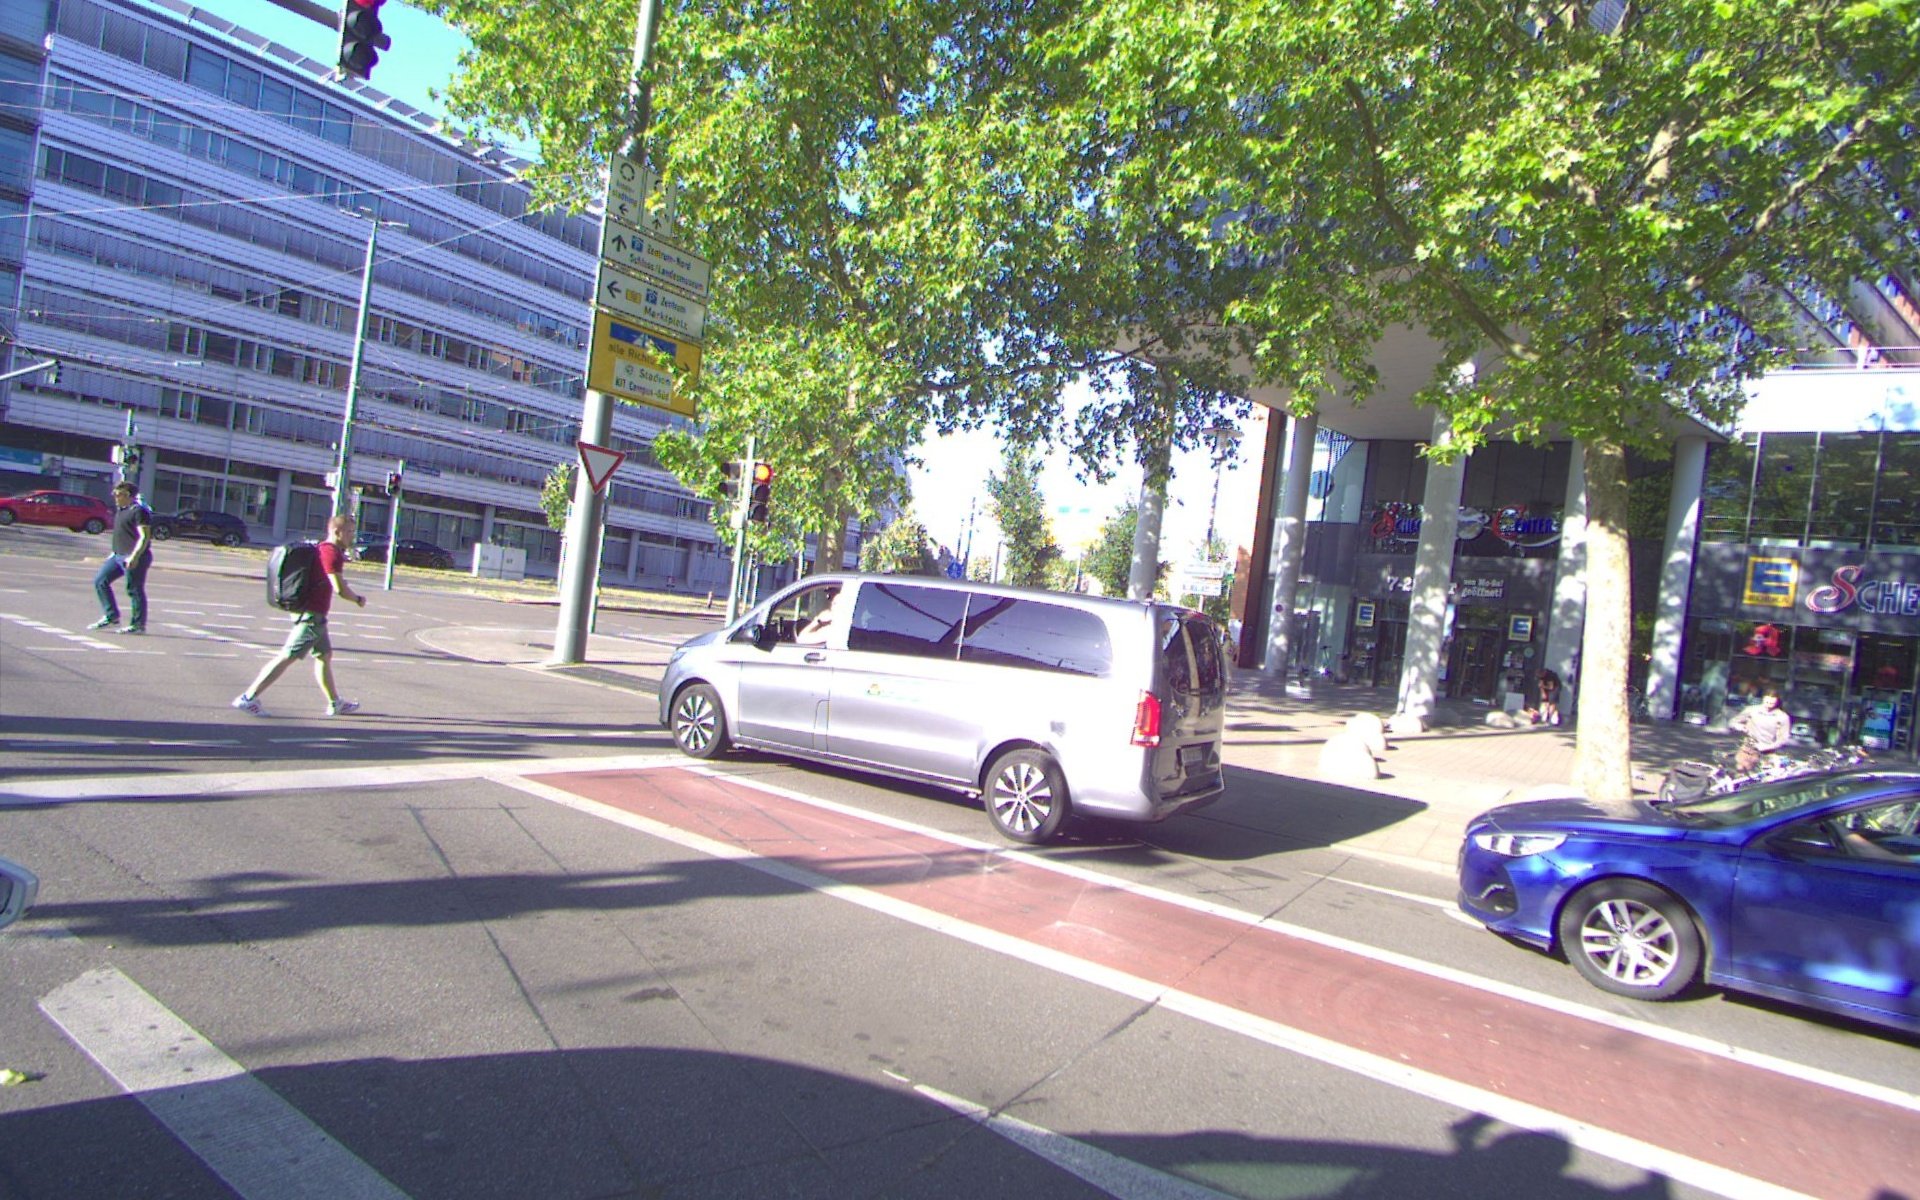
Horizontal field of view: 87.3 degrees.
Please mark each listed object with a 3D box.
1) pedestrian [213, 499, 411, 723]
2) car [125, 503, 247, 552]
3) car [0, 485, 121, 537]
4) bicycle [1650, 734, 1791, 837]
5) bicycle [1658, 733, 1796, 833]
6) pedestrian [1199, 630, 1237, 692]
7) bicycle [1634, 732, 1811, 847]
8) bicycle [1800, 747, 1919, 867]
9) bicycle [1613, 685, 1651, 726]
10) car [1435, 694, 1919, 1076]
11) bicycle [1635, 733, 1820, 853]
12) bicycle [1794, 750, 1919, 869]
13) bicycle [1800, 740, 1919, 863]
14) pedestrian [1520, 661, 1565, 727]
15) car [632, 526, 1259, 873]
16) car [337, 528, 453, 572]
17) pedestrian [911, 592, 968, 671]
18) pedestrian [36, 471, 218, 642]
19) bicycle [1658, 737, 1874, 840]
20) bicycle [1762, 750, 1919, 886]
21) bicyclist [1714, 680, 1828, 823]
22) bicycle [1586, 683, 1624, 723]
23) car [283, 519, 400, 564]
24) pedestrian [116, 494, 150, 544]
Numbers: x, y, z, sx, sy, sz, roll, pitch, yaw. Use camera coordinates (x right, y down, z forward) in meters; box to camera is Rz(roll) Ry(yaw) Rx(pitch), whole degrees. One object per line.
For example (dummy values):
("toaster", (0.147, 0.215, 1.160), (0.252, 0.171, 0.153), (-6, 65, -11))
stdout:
("pedestrian", (-5.446, 0.120, 8.507), (0.617, 1.735, 1.076), (7, -1, 28))
("car", (-34.286, -3.195, 44.634), (1.766, 1.525, 3.863), (7, 0, 33))
("car", (-34.410, -3.400, 37.640), (1.765, 1.409, 4.248), (7, 0, 30))
("bicycle", (9.767, 2.362, 12.947), (0.393, 1.038, 1.305), (6, 1, -42))
("bicycle", (10.114, 2.395, 13.292), (0.393, 1.038, 1.305), (6, 1, -42))
("pedestrian", (7.385, 1.736, 28.784), (0.694, 1.662, 0.775), (7, 1, 27))
("bicycle", (9.095, 2.245, 12.068), (1.545, 1.039, 0.461), (7, 1, 29))
("bicycle", (10.163, 2.275, 10.912), (1.451, 1.095, 0.421), (7, 1, 30))
("bicycle", (21.075, 3.299, 31.546), (0.709, 1.142, 1.912), (7, 0, 39))
("car", (5.062, 1.580, 5.531), (4.147, 1.482, 1.767), (7, 0, 32))
("bicycle", (8.823, 2.201, 11.635), (1.545, 1.039, 0.461), (7, 1, 29))
("bicycle", (11.066, 2.532, 12.080), (1.452, 1.174, 0.421), (7, 1, 33))
("bicycle", (10.549, 2.305, 11.368), (1.451, 1.174, 0.421), (7, 1, 30))
("pedestrian", (16.037, 2.582, 27.715), (0.851, 1.662, 0.966), (7, 1, 28))
("car", (-0.277, 0.663, 8.859), (5.052, 1.988, 1.997), (7, -1, 32))
("car", (-25.882, -2.284, 46.199), (1.768, 1.409, 4.241), (7, 0, 36))
("pedestrian", (-0.510, 0.787, 25.137), (0.855, 1.841, 0.845), (7, -1, 39))
("pedestrian", (-10.064, -0.502, 12.195), (1.023, 1.843, 1.212), (7, -1, 26))
("bicycle", (11.076, 2.574, 13.931), (0.661, 0.945, 2.167), (7, 0, -31))
("bicycle", (9.117, 2.192, 10.094), (1.548, 1.070, 0.627), (7, 1, 38))
("bicyclist", (11.167, 2.076, 13.866), (0.744, 1.790, 0.845), (6, 1, -31))
("bicycle", (20.515, 3.271, 32.004), (0.709, 1.142, 1.912), (7, 0, 39))
("car", (-28.763, -2.684, 46.904), (1.768, 1.452, 4.240), (7, 0, 37))
("pedestrian", (-30.098, -2.954, 36.620), (0.549, 1.701, 0.719), (7, -1, 39))
